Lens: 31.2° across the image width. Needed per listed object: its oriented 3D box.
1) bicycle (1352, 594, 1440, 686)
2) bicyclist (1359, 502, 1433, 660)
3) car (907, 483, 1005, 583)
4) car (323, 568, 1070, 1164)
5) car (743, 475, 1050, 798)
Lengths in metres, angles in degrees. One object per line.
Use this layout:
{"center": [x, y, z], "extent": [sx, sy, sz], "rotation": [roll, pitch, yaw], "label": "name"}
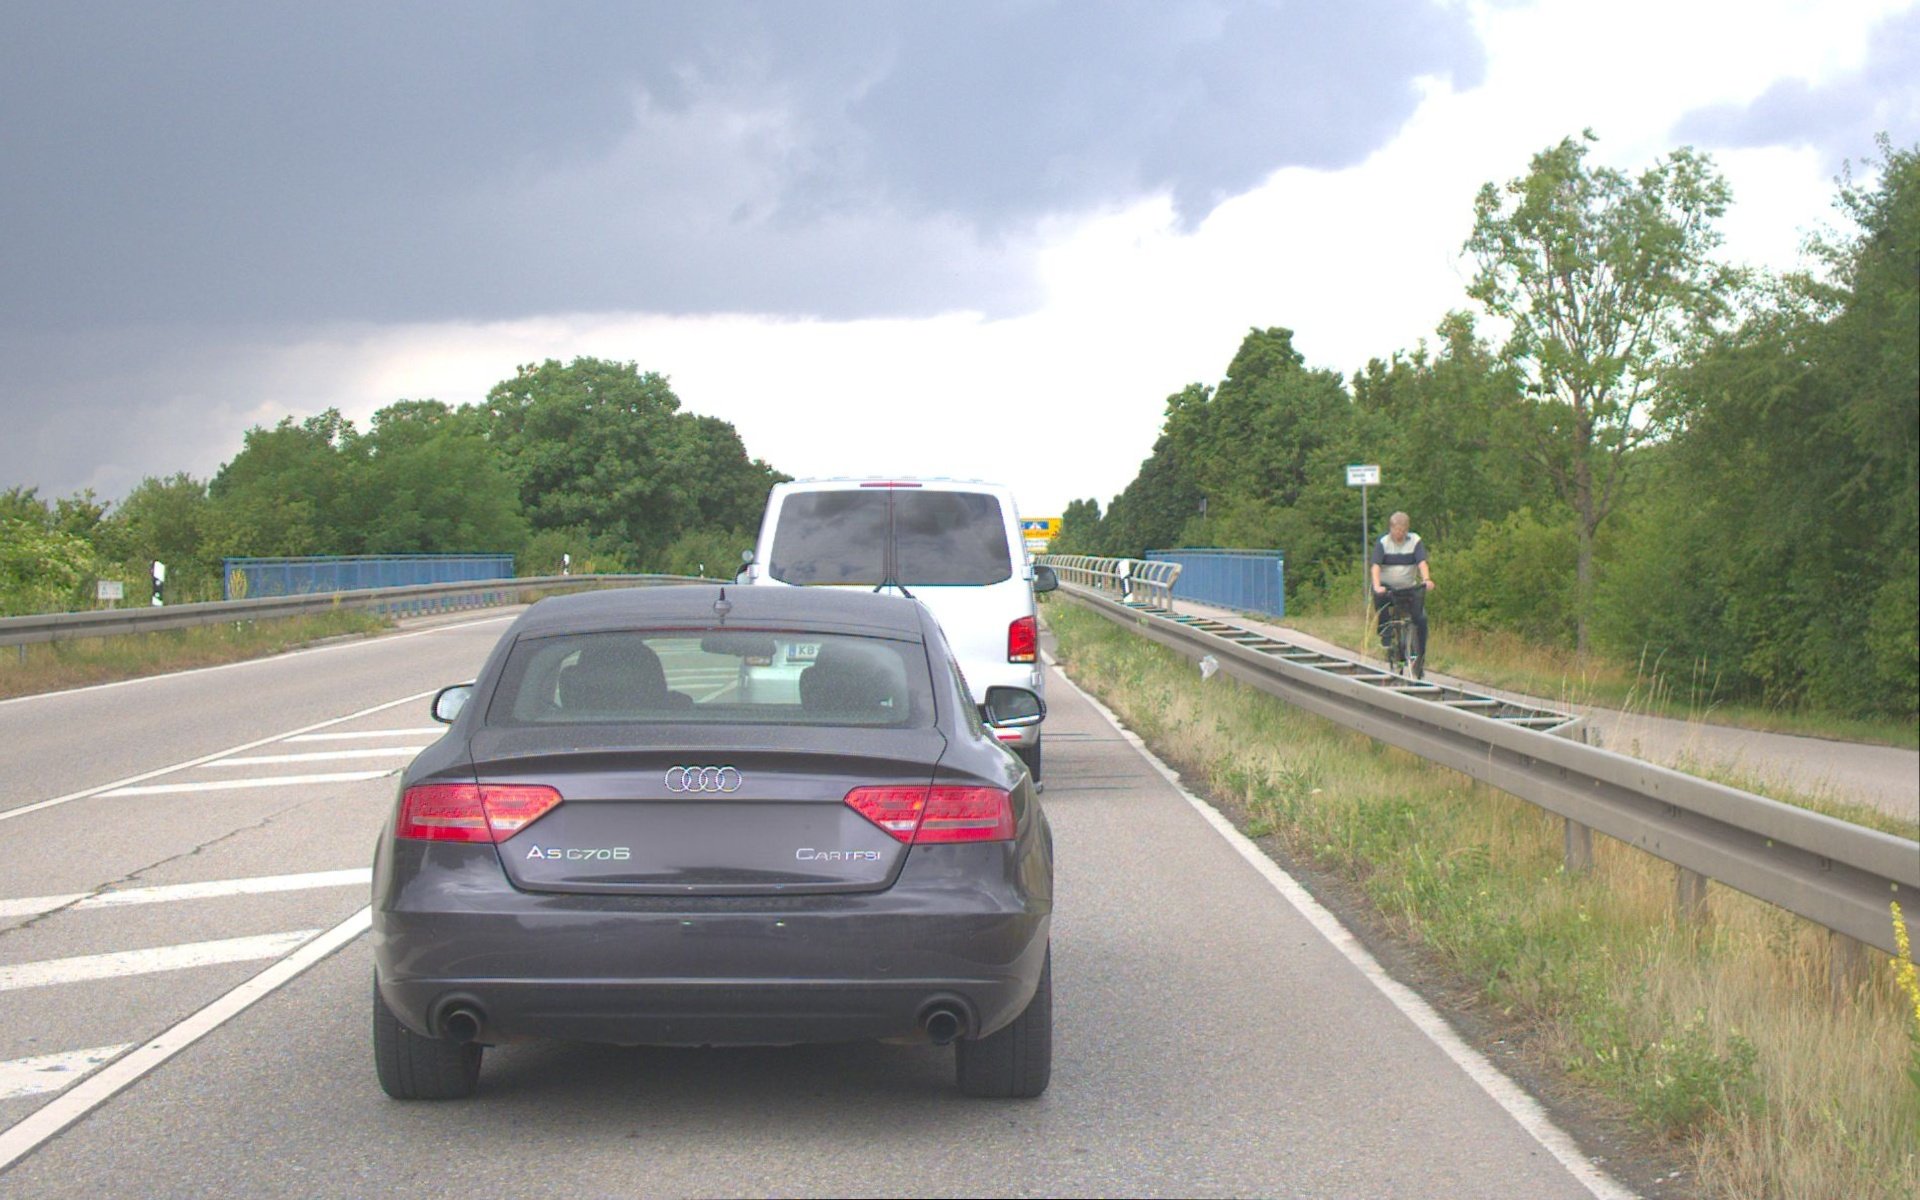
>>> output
{"center": [4.578, 0.411, 36.184], "extent": [0.666, 0.917, 1.830], "rotation": [-1, 1, 0], "label": "bicycle"}
{"center": [4.580, -0.201, 36.175], "extent": [0.647, 1.639, 0.866], "rotation": [-1, 1, 0], "label": "bicyclist"}
{"center": [-0.098, -1.736, 88.979], "extent": [2.447, 2.495, 5.041], "rotation": [1, 1, 0], "label": "car"}
{"center": [-0.653, 0.629, 10.299], "extent": [1.785, 1.419, 4.000], "rotation": [1, 0, 0], "label": "car"}
{"center": [-0.390, 0.200, 22.247], "extent": [1.785, 1.883, 4.000], "rotation": [1, 0, 0], "label": "car"}
